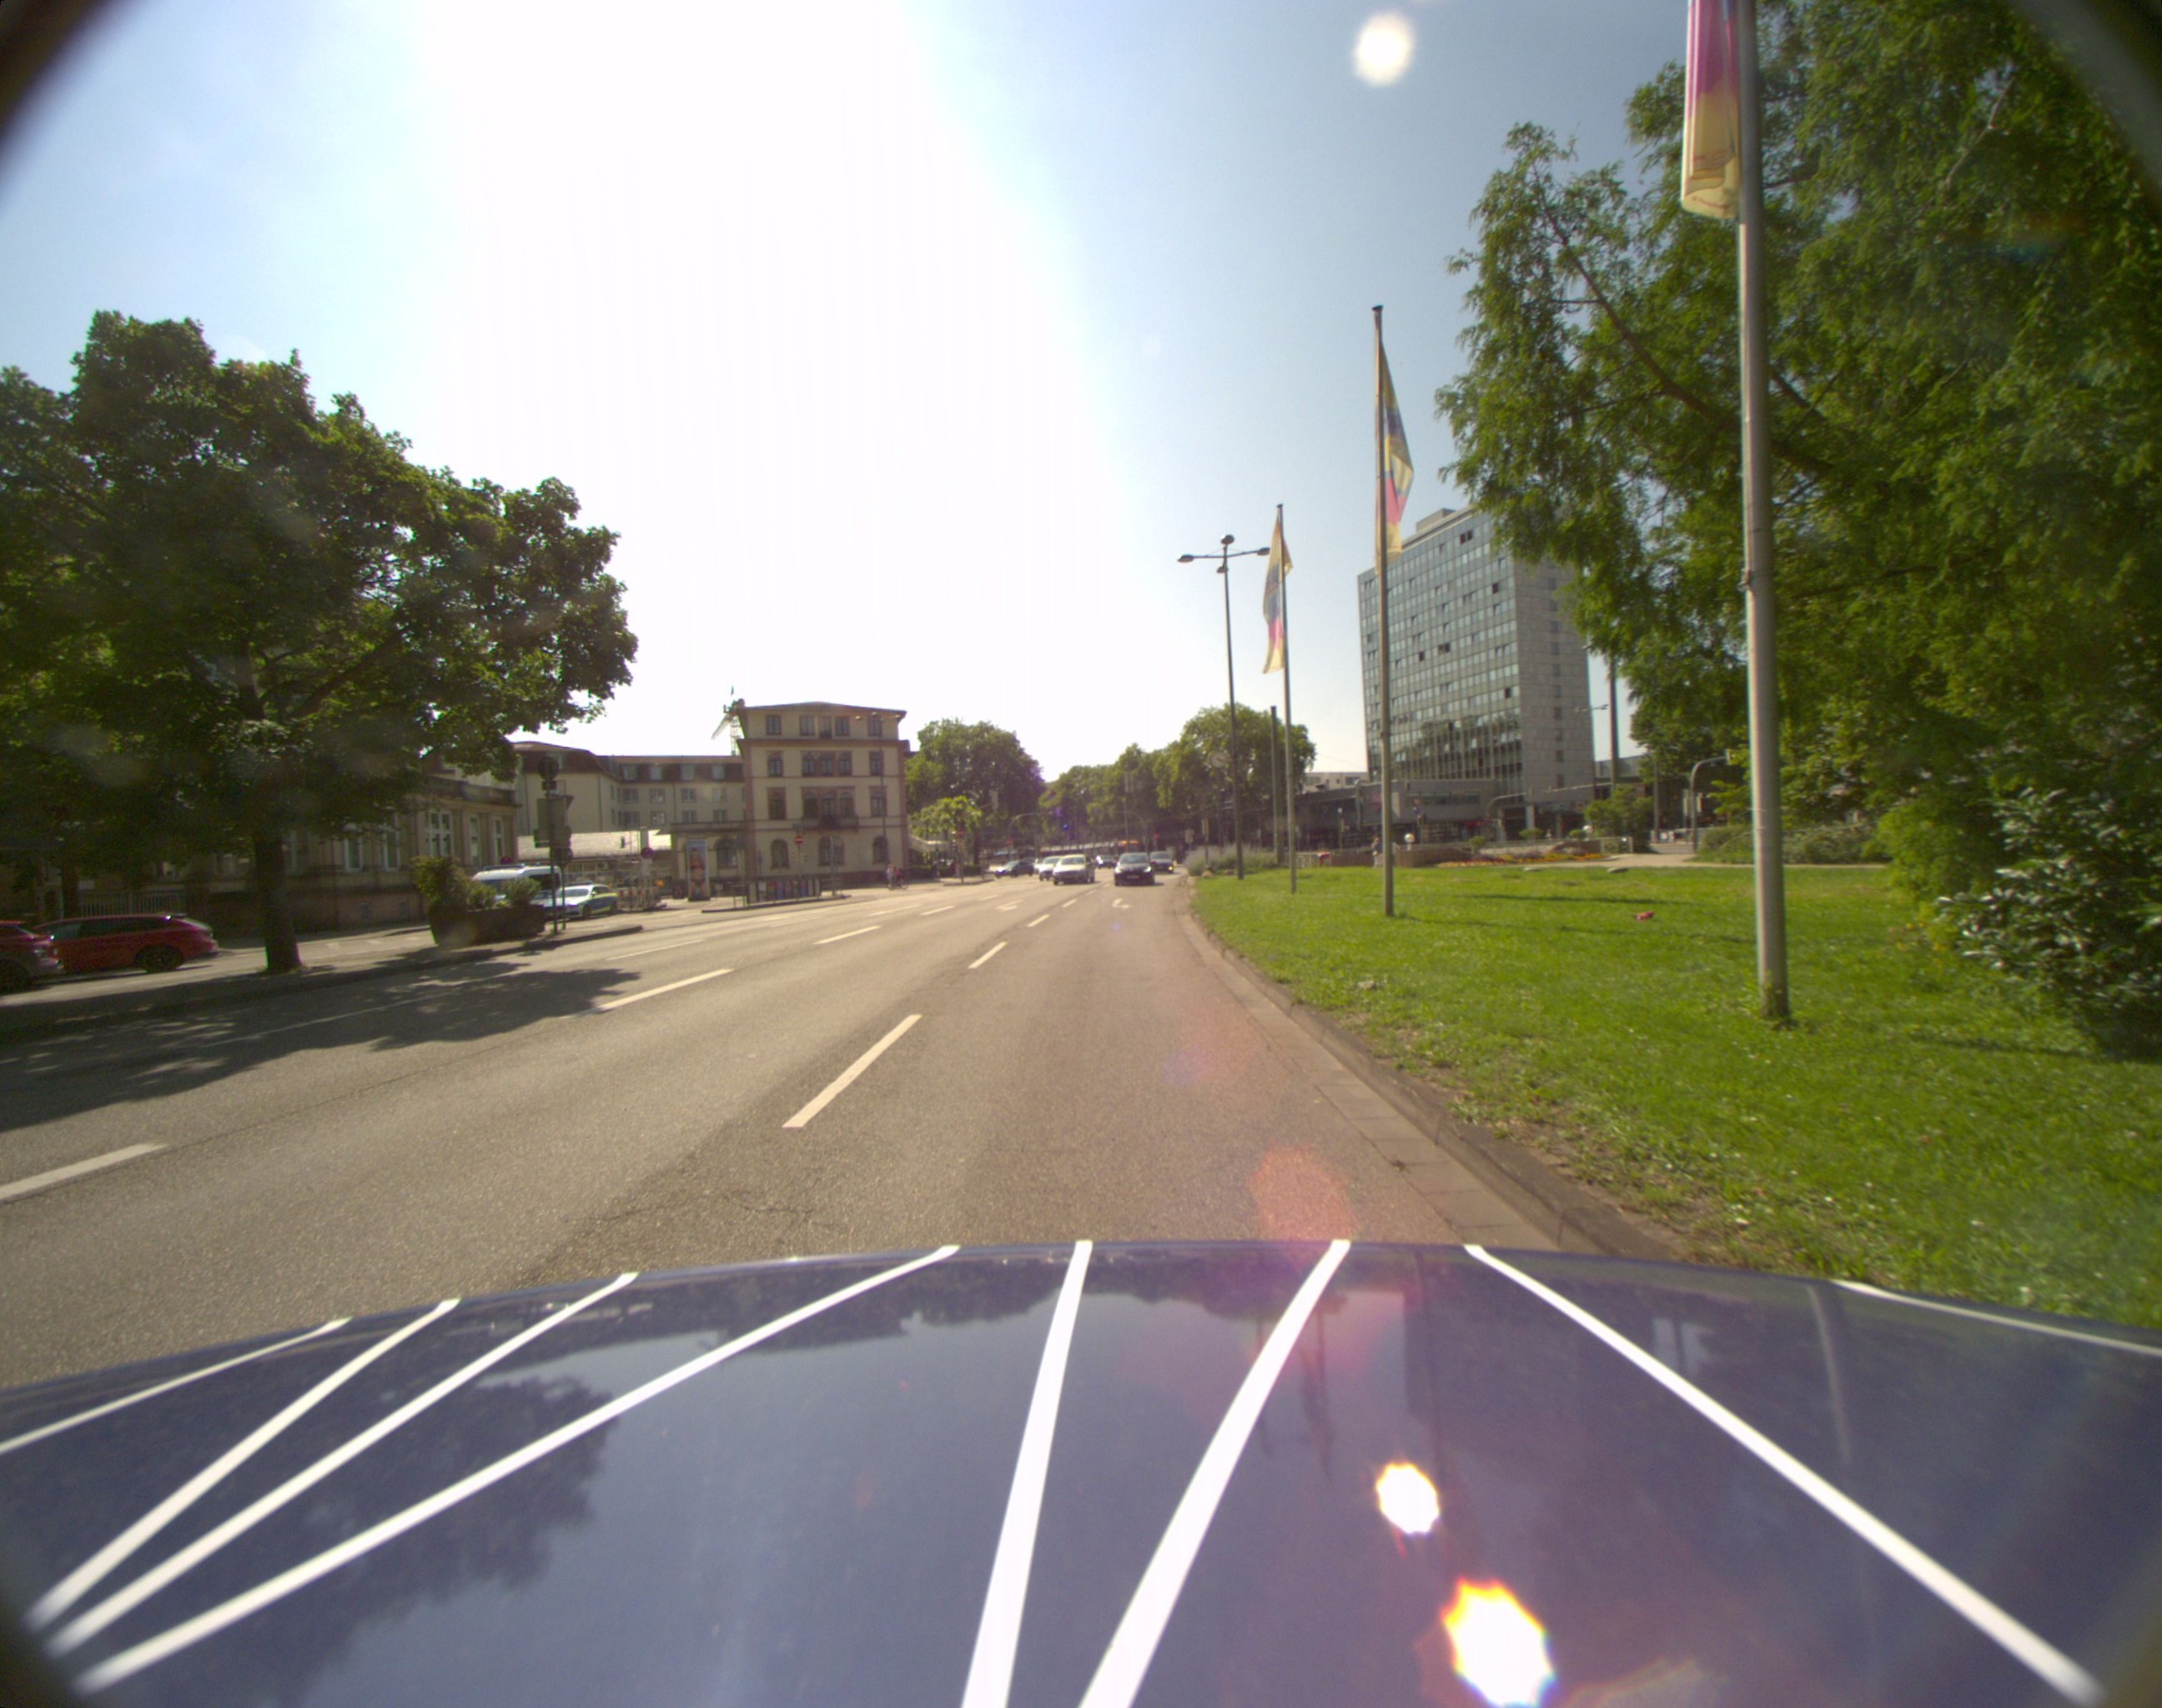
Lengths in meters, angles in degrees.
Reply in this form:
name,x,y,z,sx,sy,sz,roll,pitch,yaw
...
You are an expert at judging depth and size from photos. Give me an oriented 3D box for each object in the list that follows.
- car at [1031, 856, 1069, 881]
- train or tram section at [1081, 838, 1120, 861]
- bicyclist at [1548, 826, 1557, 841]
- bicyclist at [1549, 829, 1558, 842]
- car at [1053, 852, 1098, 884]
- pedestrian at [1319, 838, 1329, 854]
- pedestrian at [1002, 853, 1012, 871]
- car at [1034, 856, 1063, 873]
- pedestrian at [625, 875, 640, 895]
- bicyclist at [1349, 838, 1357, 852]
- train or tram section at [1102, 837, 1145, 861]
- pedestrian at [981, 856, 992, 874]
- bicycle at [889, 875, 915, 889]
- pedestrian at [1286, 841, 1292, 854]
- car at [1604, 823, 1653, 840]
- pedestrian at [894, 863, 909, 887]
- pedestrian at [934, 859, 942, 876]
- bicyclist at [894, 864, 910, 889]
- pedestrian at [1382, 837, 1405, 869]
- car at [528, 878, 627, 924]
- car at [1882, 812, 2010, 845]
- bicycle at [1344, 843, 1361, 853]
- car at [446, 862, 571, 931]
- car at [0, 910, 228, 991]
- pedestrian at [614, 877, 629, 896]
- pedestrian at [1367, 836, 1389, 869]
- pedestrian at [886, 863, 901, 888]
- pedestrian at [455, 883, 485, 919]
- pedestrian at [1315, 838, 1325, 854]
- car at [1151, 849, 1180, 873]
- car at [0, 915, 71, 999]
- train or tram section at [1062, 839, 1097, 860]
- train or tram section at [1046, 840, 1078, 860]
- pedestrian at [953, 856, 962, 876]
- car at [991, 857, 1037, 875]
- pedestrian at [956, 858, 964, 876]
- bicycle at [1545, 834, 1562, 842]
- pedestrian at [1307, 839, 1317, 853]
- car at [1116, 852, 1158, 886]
name,x,y,z,sx,sy,sz,roll,pitch,yaw
car,-1.951,0.872,48.438,1.790,1.443,3.975,-1,0,6
train or tram section,2.941,-0.698,119.518,2.737,3.248,8.722,-3,0,-22
bicyclist,57.598,-2.483,92.821,0.684,1.758,0.696,-3,2,-4
bicyclist,56.483,-2.251,90.898,0.684,1.518,0.582,-3,2,-10
car,-0.210,0.708,39.316,1.718,1.491,4.493,-2,-1,7
pedestrian,28.917,-0.964,90.470,0.824,1.825,0.670,-3,1,-21
pedestrian,-7.557,0.825,77.196,0.730,1.835,0.590,-4,1,-44
car,-3.045,0.960,72.448,1.789,1.521,3.977,-1,0,12
pedestrian,-37.995,2.609,64.382,0.724,1.594,0.719,-3,1,0
bicyclist,32.753,-1.075,91.458,0.684,1.677,0.583,-3,1,-17
train or tram section,6.147,-0.717,111.440,2.737,3.248,8.722,-3,0,-22
pedestrian,-8.913,1.062,71.628,0.845,1.685,0.743,-3,1,-22
bicycle,-11.700,1.822,49.716,0.592,0.850,1.747,-3,0,31
pedestrian,25.692,-0.844,93.929,0.565,1.629,0.600,-2,1,10
car,58.884,-2.386,81.772,4.078,1.525,1.881,-3,0,-8
pedestrian,-12.512,1.465,53.098,0.773,1.563,0.829,-3,1,-1
pedestrian,-13.395,1.261,71.255,0.535,1.639,0.673,-3,1,-18
bicyclist,-11.714,1.459,49.702,0.592,1.597,0.685,-3,1,31
pedestrian,15.329,-0.051,37.247,0.851,1.501,0.475,-3,1,-9
car,-21.736,1.986,33.069,1.823,1.617,4.875,-3,0,-12
car,40.391,-1.160,35.584,1.613,1.338,3.579,-3,0,-21
bicycle,32.683,-0.770,91.430,1.970,1.096,0.576,-3,1,-17
car,-24.478,1.703,32.787,2.000,2.588,5.313,-3,0,-11
car,-22.928,2.219,17.885,1.744,1.410,3.707,-3,1,42
pedestrian,-38.247,2.704,63.256,0.724,1.594,0.719,-3,1,-2
pedestrian,14.558,-0.060,37.255,0.692,1.584,0.599,-3,1,-9
pedestrian,-12.780,1.468,51.857,0.753,1.650,0.829,-3,1,-2
pedestrian,-30.959,2.359,38.517,0.821,1.730,0.750,-3,1,-12
pedestrian,28.626,-0.981,91.184,0.824,1.825,0.734,-3,1,-21
car,5.595,0.423,50.774,1.790,1.484,4.089,-1,0,5
car,-22.806,2.149,14.600,1.745,1.566,3.885,-3,1,42
train or tram section,-0.354,-0.679,127.816,2.737,3.248,8.722,-3,0,-22
train or tram section,-3.540,-0.662,135.944,2.737,3.248,8.722,-3,0,-22
pedestrian,-11.549,1.135,70.952,0.726,1.795,0.652,-3,1,-14
car,-5.724,1.018,65.481,1.787,1.443,3.981,-1,0,35
pedestrian,-11.194,1.158,70.125,0.535,1.639,0.579,-3,1,-18
bicycle,56.514,-1.929,90.913,1.811,0.878,0.592,-3,2,-10
pedestrian,28.545,-0.980,93.863,0.824,1.796,0.670,-3,1,-19
car,2.666,0.652,35.669,1.790,1.443,4.282,-1,0,5
